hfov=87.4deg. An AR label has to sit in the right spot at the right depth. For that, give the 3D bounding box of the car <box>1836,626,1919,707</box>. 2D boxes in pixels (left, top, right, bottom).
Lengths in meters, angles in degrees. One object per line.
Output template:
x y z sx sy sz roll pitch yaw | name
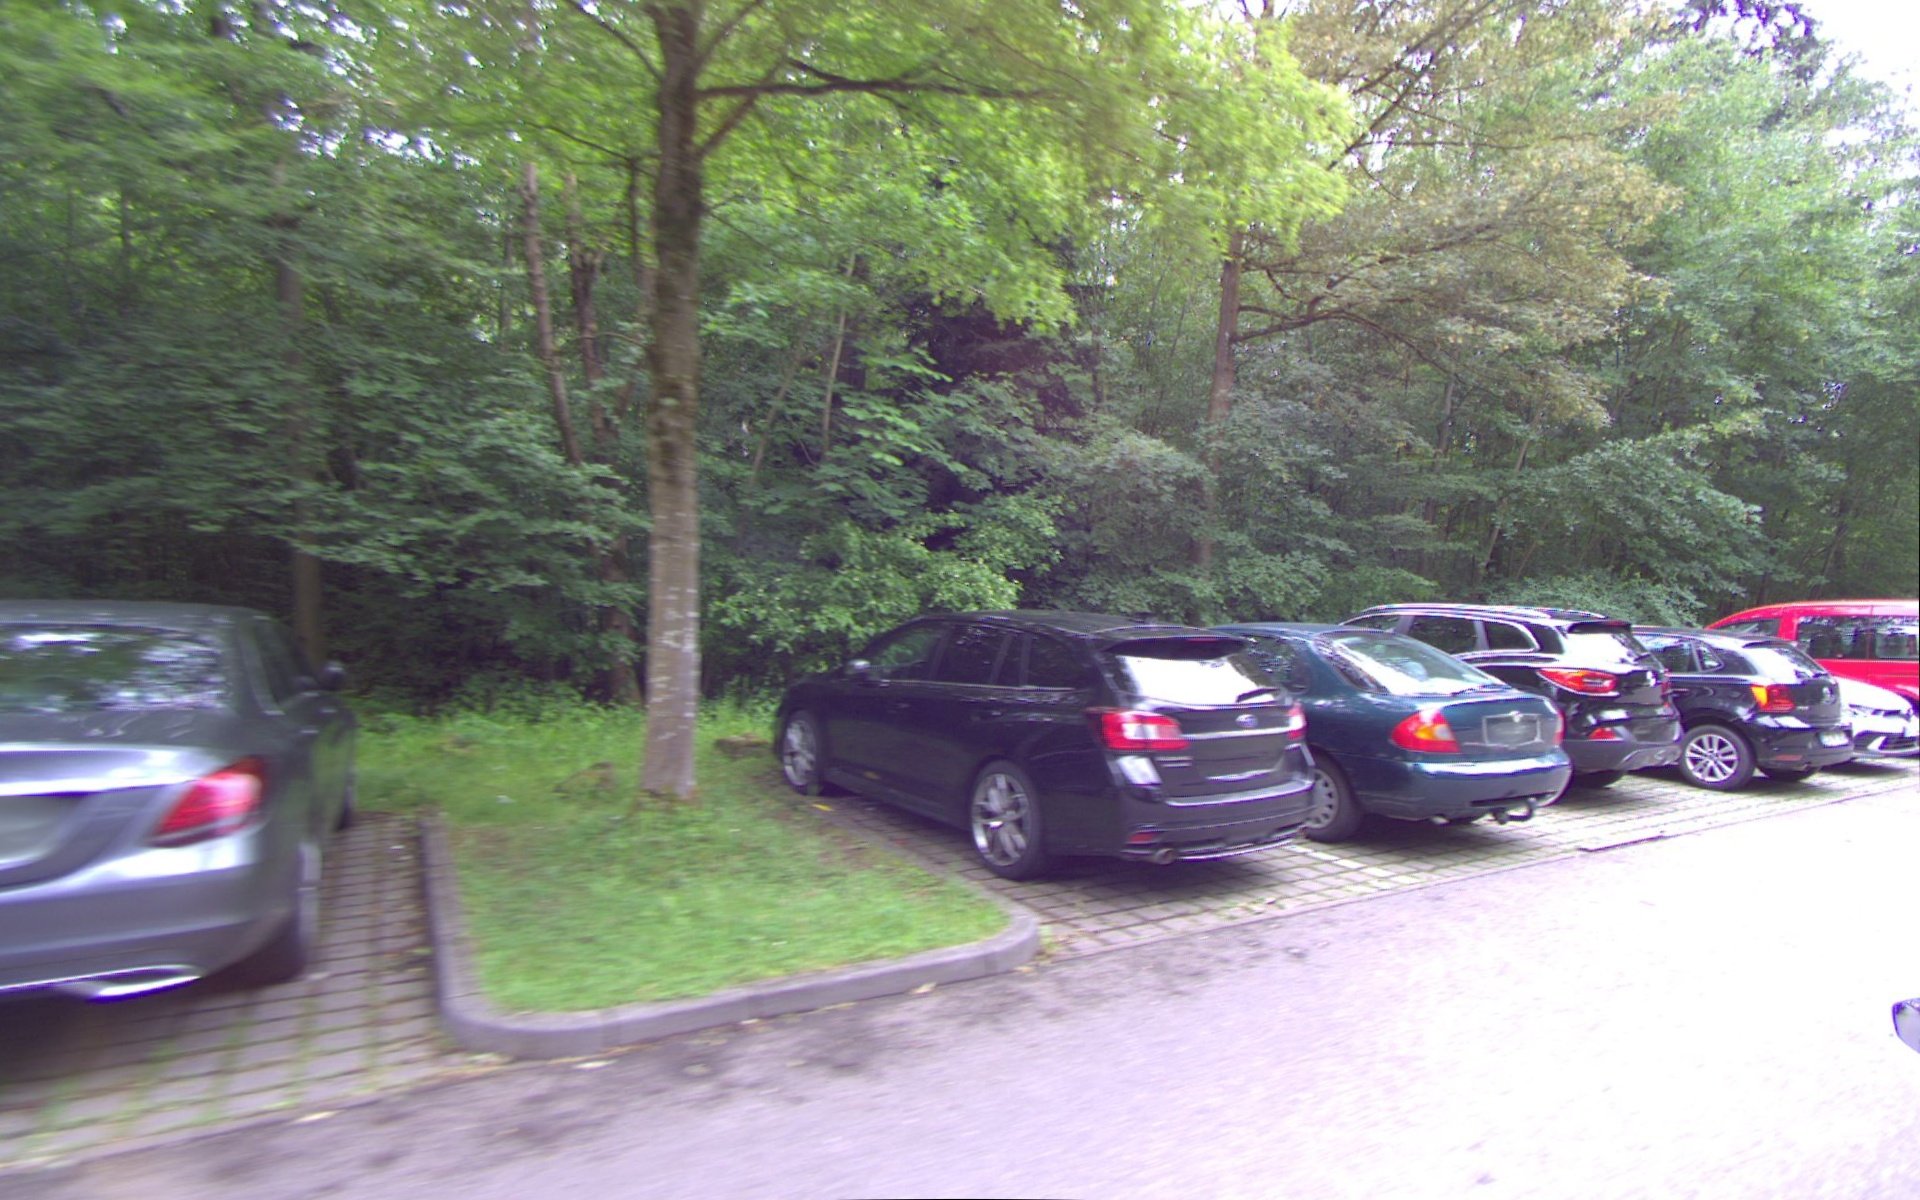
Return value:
19.241 1.296 18.762 1.825 1.494 3.969 1 0 -29 | car

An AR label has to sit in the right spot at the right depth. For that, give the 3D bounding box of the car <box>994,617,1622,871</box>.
2.387 0.870 8.228 1.965 1.361 4.707 1 0 -31 | car

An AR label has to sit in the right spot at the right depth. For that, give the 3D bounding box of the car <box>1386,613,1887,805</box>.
6.890 0.953 10.628 1.980 1.550 3.962 1 0 -34 | car

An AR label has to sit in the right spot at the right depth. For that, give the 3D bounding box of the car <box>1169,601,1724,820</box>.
4.439 0.844 10.026 1.937 1.616 4.707 1 0 -31 | car

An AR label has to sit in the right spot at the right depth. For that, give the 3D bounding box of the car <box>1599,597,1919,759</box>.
11.078 0.907 13.246 2.092 1.841 3.964 1 0 -33 | car

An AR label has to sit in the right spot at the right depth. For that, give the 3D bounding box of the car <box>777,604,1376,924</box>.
0.435 0.791 6.963 1.739 1.468 4.267 1 0 -35 | car

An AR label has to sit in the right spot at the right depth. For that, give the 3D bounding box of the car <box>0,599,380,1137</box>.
-3.800 0.745 4.463 1.940 1.450 4.092 1 0 -28 | car

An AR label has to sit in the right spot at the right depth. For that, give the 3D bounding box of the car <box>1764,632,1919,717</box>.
17.123 1.331 18.069 1.913 1.387 3.730 1 0 -29 | car

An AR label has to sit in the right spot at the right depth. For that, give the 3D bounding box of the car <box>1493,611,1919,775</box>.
8.874 0.946 12.029 1.977 1.550 3.967 1 0 -31 | car

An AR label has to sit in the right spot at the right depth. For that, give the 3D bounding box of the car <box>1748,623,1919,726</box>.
15.173 1.157 15.730 2.090 1.494 3.968 1 0 -30 | car
